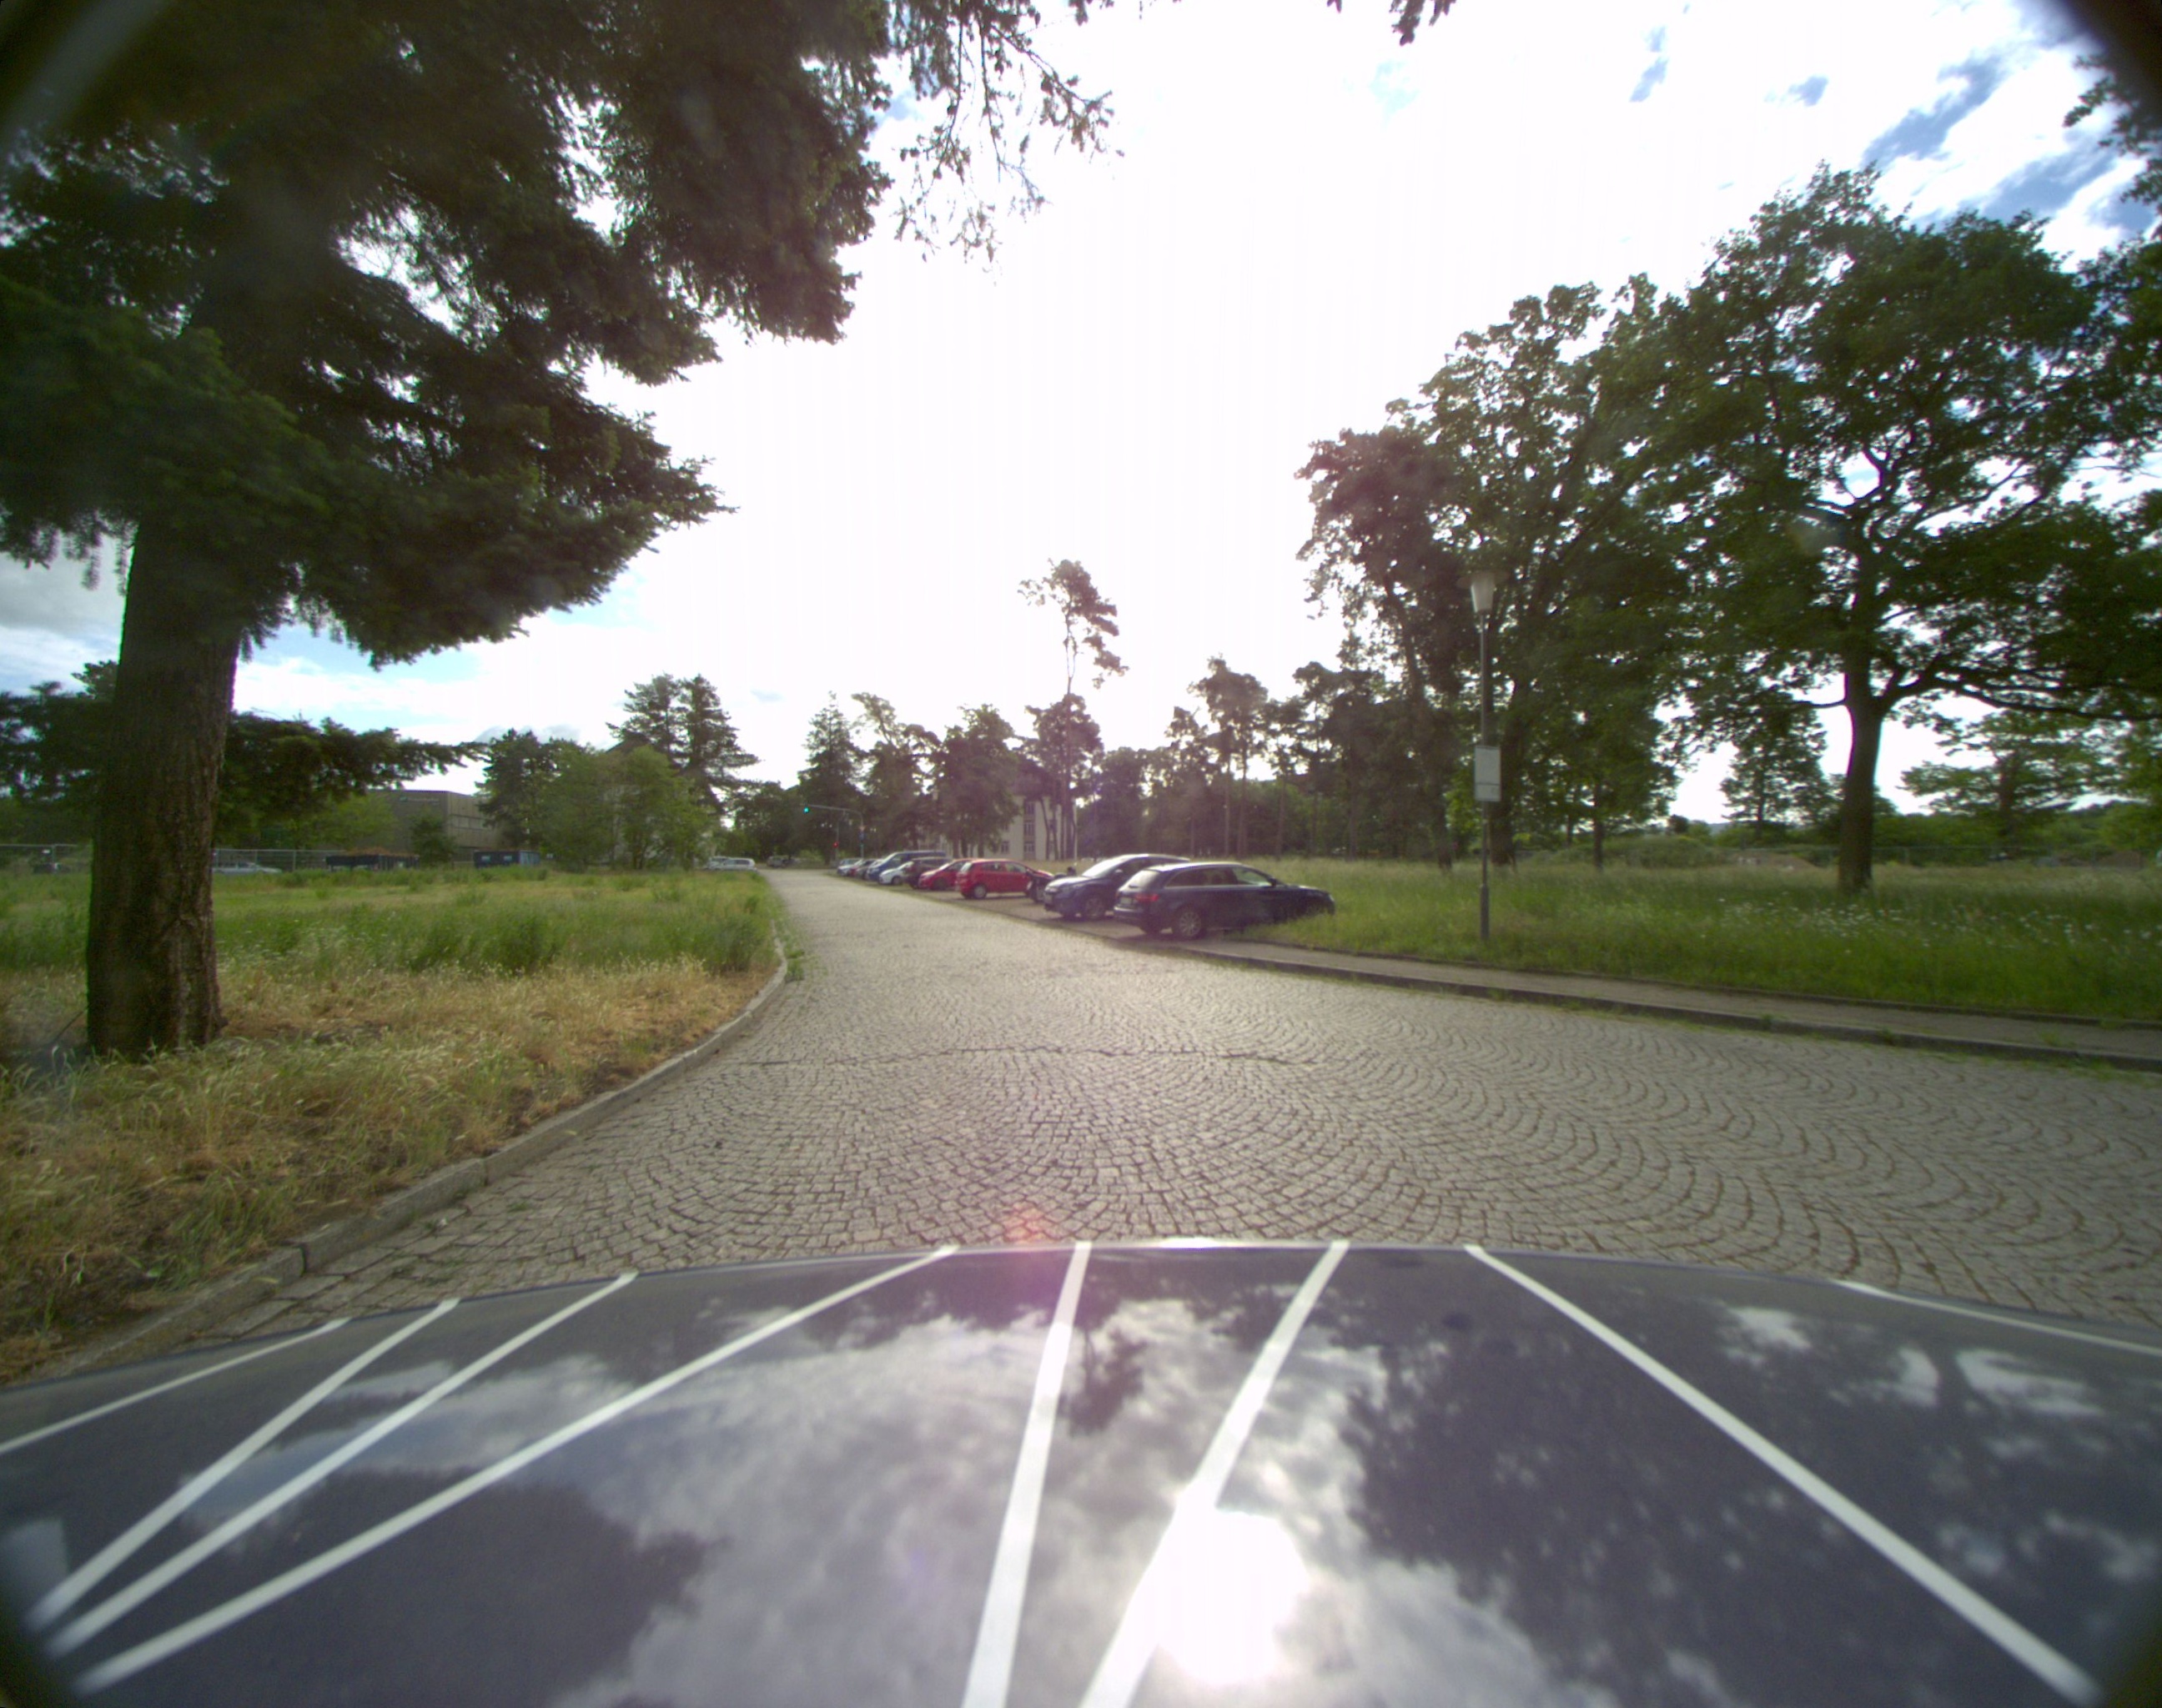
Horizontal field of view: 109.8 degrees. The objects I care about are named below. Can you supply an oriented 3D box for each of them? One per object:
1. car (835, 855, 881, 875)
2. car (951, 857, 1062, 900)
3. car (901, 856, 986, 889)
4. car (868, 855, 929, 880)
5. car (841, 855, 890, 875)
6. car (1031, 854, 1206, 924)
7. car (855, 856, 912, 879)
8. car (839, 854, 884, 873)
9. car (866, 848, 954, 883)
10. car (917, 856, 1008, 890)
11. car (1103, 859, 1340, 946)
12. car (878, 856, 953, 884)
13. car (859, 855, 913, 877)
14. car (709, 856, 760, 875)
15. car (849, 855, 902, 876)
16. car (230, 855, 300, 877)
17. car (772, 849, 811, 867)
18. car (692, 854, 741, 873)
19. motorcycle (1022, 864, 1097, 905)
[{"bbox_3d":[-19.388,0.953,66.074,3.577,1.450,1.623,-4,2,-26],"label":"car"},{"bbox_3d":[-2.849,0.904,29.232,3.901,1.470,1.668,-2,1,-24],"label":"car"},{"bbox_3d":[-6.996,0.906,38.658,3.924,1.594,1.817,0,0,-26],"label":"car"},{"bbox_3d":[-12.509,0.878,52.120,3.605,1.446,1.683,-4,3,-30],"label":"car"},{"bbox_3d":[-18.051,0.890,63.601,3.578,1.479,1.598,-4,3,-31],"label":"car"},{"bbox_3d":[0.979,0.836,19.675,4.157,1.564,1.786,-1,1,-24],"label":"car"},{"bbox_3d":[-14.127,0.921,54.318,3.606,1.413,1.614,-3,2,-30],"label":"car"},{"bbox_3d":[-19.891,0.843,68.859,3.460,1.424,1.624,-4,3,-33],"label":"car"},{"bbox_3d":[-10.559,0.661,46.871,4.841,1.855,2.157,-4,2,-25],"label":"car"},{"bbox_3d":[-5.666,0.892,36.310,3.958,1.511,1.704,-1,0,-23],"label":"car"},{"bbox_3d":[2.823,0.886,15.304,4.450,1.471,1.679,-1,0,-20],"label":"car"},{"bbox_3d":[-9.680,0.909,44.450,3.937,1.385,1.739,-4,2,-25],"label":"car"},{"bbox_3d":[-14.698,0.882,57.296,3.578,1.426,1.602,-4,3,-30],"label":"car"},{"bbox_3d":[-29.022,0.942,63.697,3.736,1.430,1.623,-3,2,-27],"label":"car"},{"bbox_3d":[-16.136,0.879,59.682,3.578,1.409,1.634,-4,3,-30],"label":"car"},{"bbox_3d":[-72.186,1.099,67.254,1.995,1.892,3.778,-1,-2,26],"label":"car"},{"bbox_3d":[-49.133,0.637,128.936,5.806,2.548,2.763,-4,3,-29],"label":"car"},{"bbox_3d":[-32.564,0.843,67.886,3.737,1.430,1.622,-3,2,-31],"label":"car"},{"bbox_3d":[-0.708,0.988,25.368,2.366,1.280,0.742,-1,1,-23],"label":"motorcycle"}]
